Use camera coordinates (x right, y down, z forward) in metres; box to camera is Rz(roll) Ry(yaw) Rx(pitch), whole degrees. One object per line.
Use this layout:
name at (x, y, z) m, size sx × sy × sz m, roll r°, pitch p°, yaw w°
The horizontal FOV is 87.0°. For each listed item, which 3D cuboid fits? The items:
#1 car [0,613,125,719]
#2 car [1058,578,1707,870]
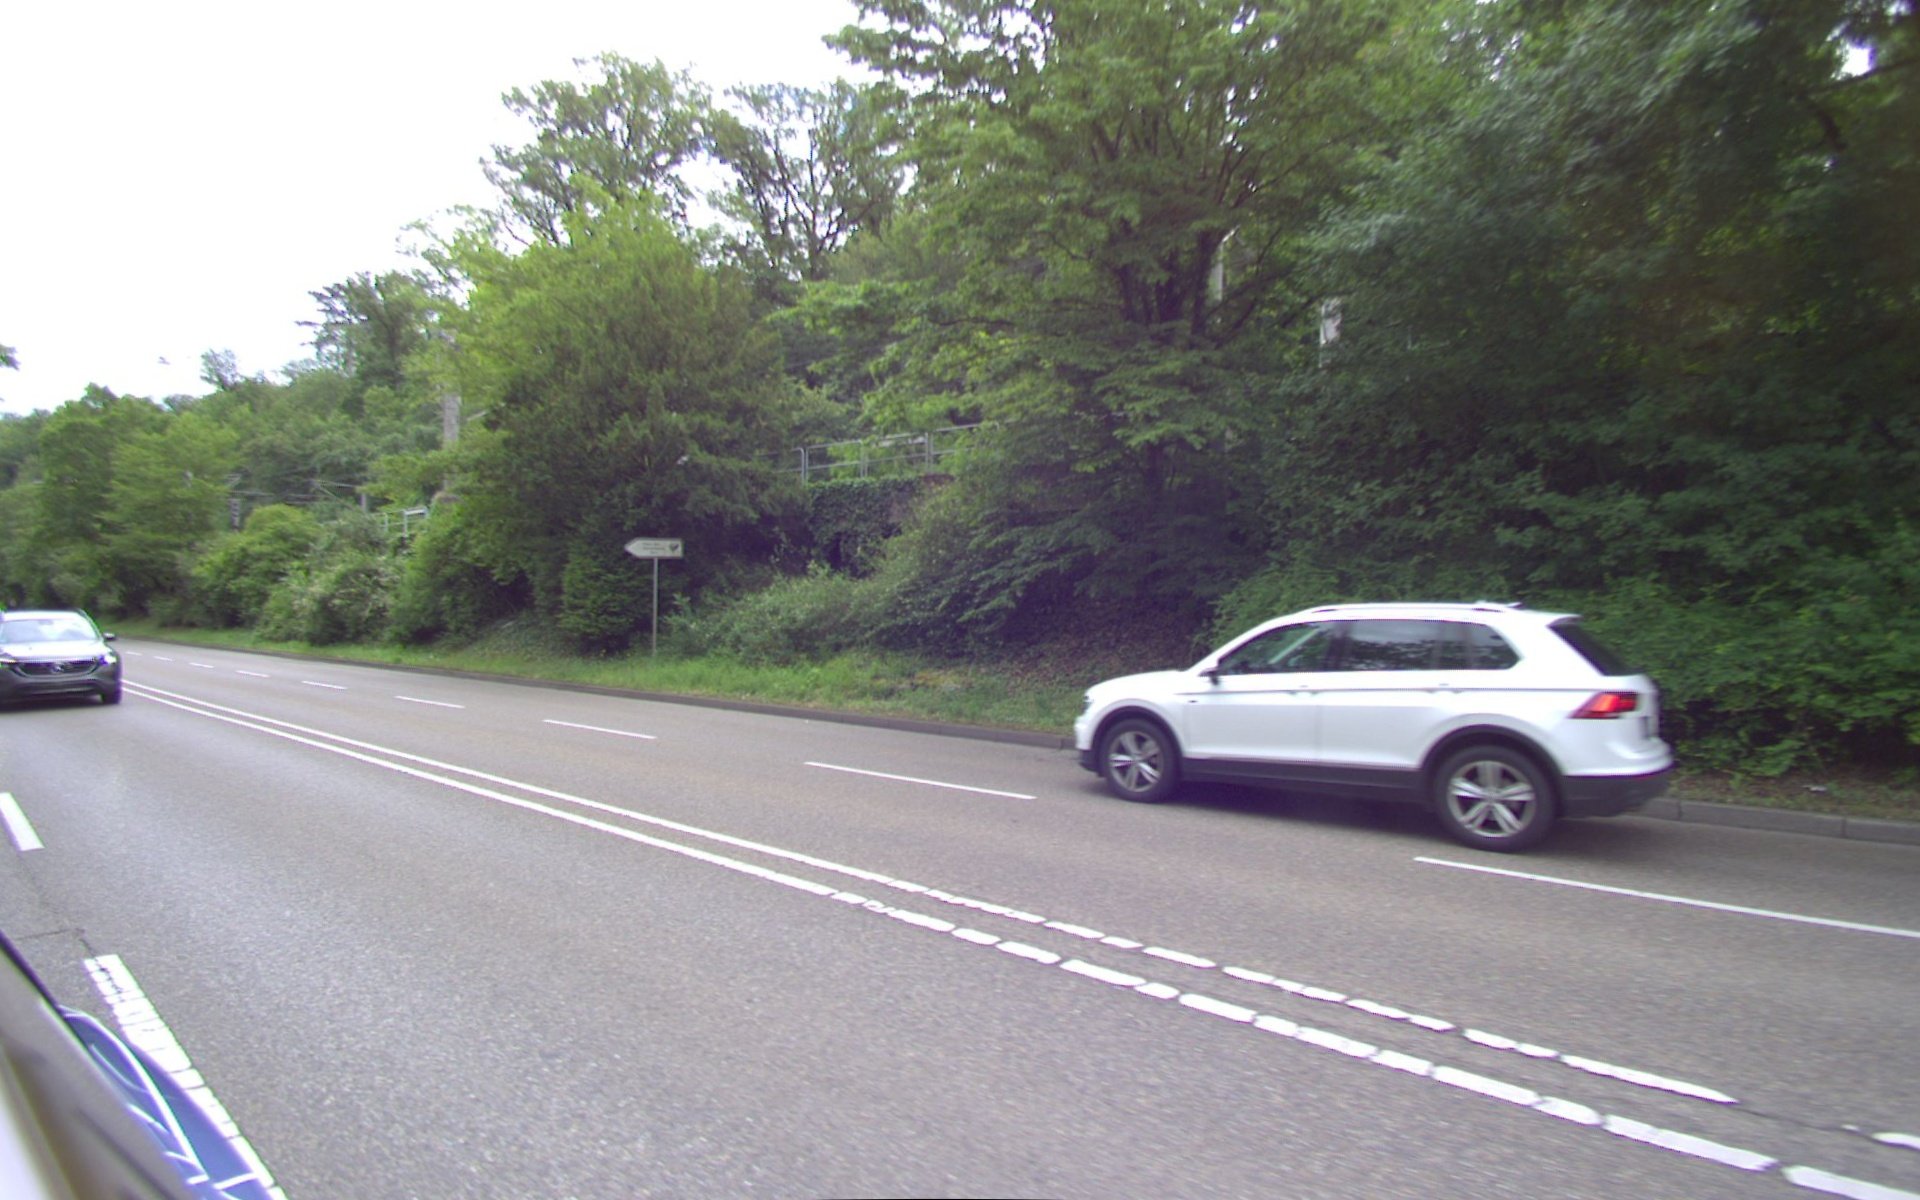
car at (-16.382, 1.080, 17.958) m, size 4.192 × 1.675 × 1.846 m, roll -1°, pitch -1°, yaw 43°
car at (3.149, 0.795, 8.045) m, size 4.430 × 1.708 × 1.838 m, roll -1°, pitch -4°, yaw 38°
